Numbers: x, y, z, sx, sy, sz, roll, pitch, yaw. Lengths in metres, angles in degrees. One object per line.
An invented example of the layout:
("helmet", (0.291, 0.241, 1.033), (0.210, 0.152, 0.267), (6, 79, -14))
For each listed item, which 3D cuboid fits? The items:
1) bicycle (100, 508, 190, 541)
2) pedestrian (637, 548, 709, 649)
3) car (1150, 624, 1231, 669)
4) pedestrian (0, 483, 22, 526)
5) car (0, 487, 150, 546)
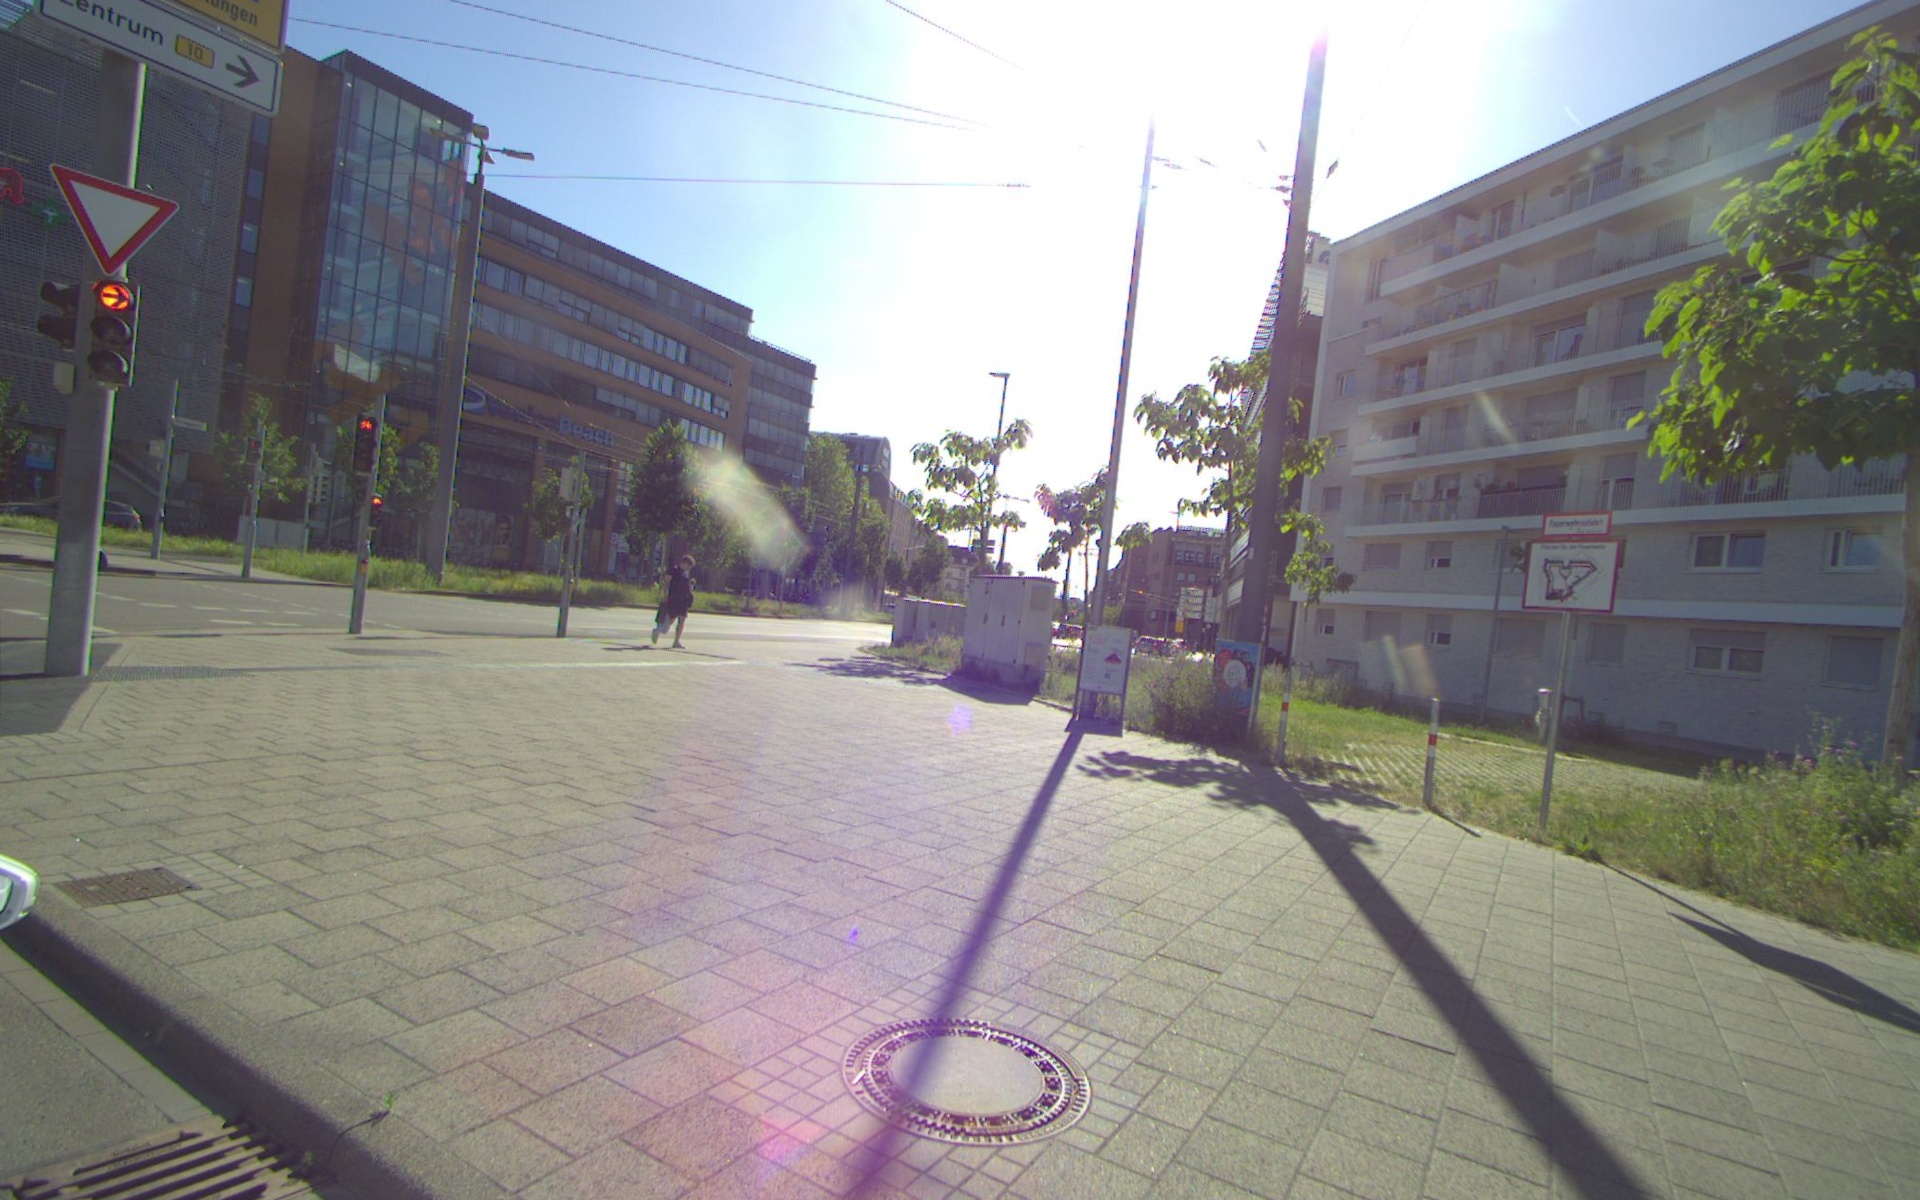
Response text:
("bicycle", (-41.744, -3.846, 51.597), (1.100, 1.090, 3.361), (7, -1, 38))
("pedestrian", (-5.304, -0.019, 18.632), (0.749, 1.729, 0.807), (7, 0, 31))
("car", (13.299, 2.678, 58.168), (3.929, 2.038, 1.999), (7, 0, -5))
("pedestrian", (-41.859, -4.215, 44.014), (0.740, 1.759, 0.855), (7, 0, 26))
("car", (-32.853, -3.063, 36.991), (1.470, 1.513, 4.493), (7, -1, 32))
